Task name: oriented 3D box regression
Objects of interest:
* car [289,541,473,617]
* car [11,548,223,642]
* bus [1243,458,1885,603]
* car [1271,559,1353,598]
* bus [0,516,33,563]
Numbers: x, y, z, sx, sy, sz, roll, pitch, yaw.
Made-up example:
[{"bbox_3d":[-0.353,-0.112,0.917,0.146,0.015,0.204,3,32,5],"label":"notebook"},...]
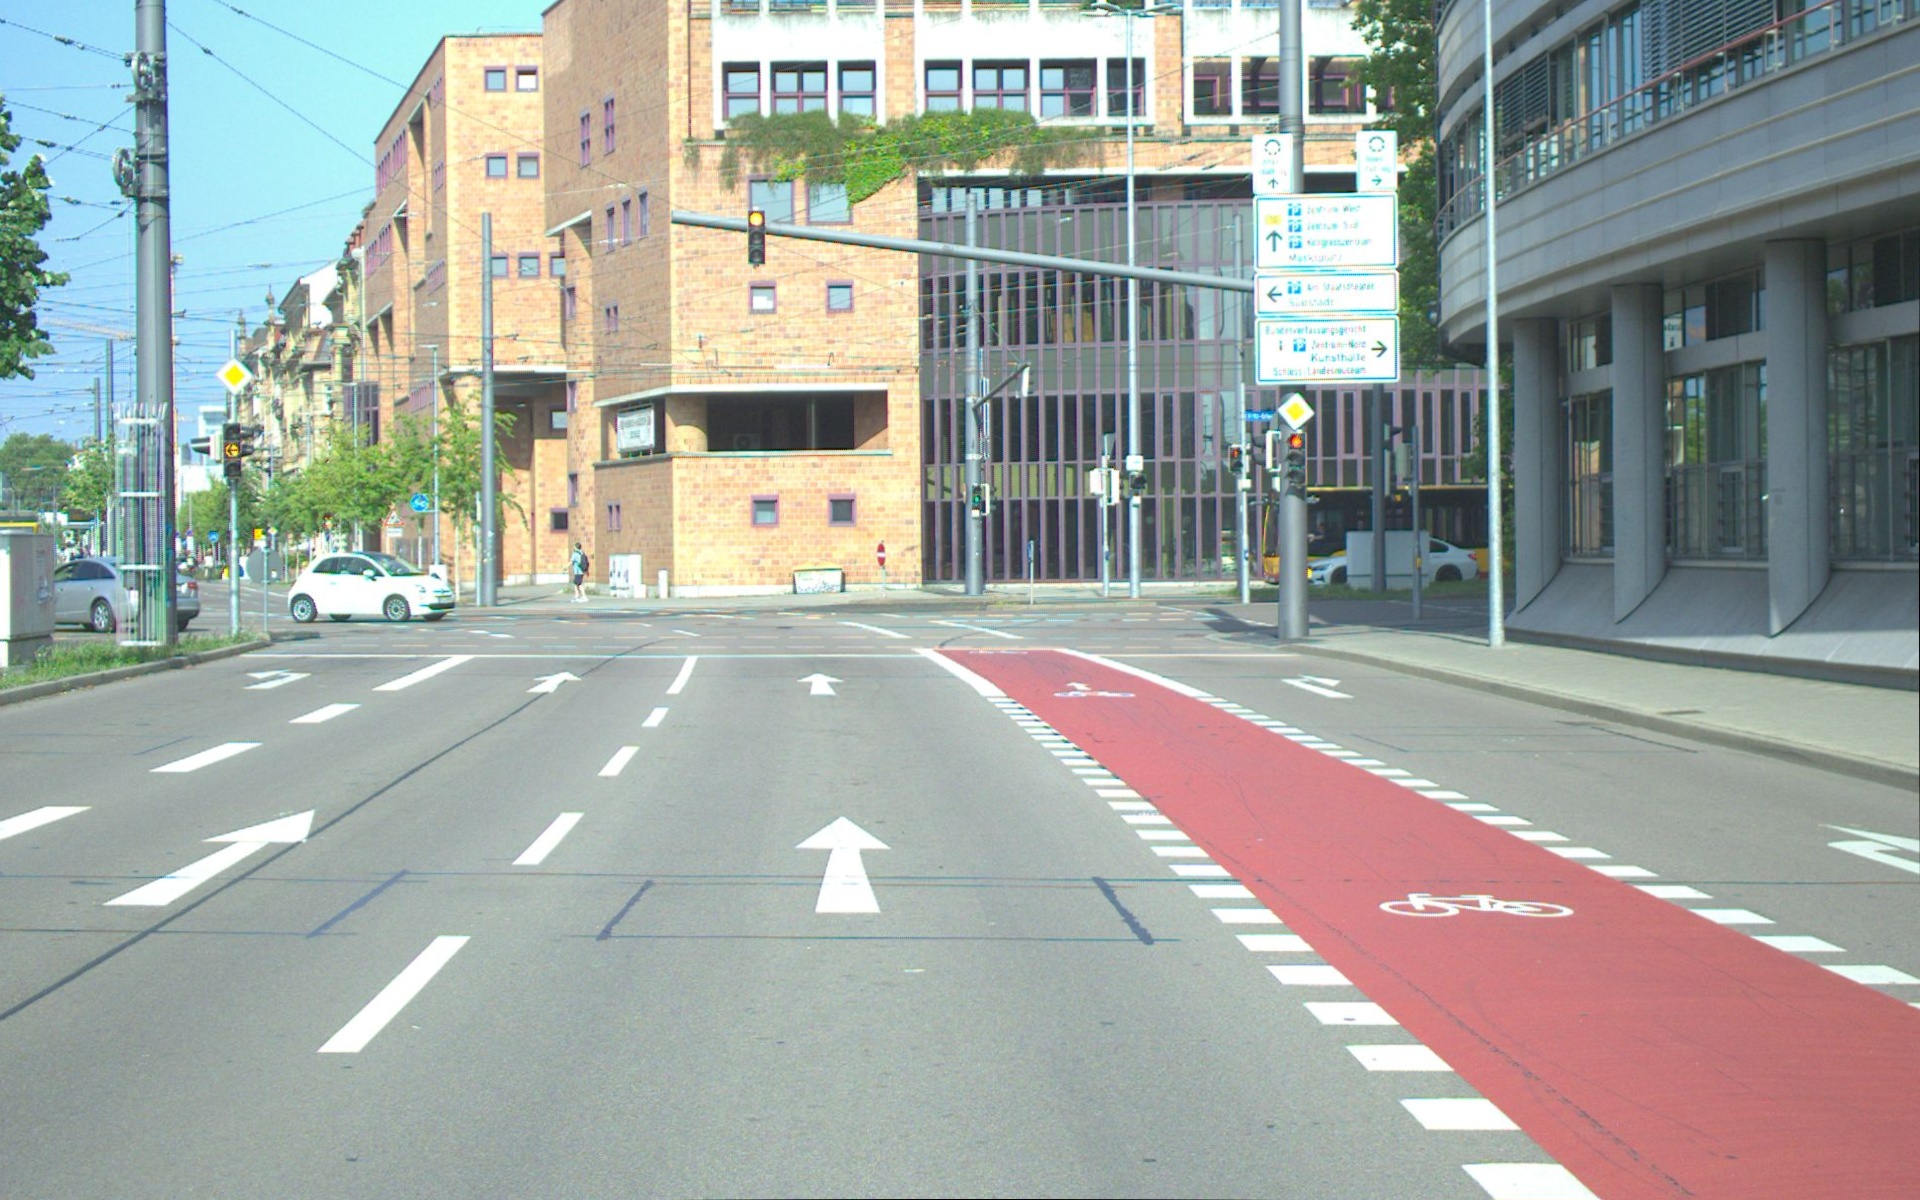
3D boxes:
[{"bbox_3d":[-12.283,-0.424,72.976,3.440,1.536,1.733,-1,-1,22],"label":"car"},{"bbox_3d":[-16.350,-0.095,66.659,3.884,1.749,1.708,-1,0,30],"label":"car"},{"bbox_3d":[16.678,-1.931,94.637,17.605,3.797,2.866,-1,-1,-13],"label":"bus"},{"bbox_3d":[9.119,-0.556,89.061,1.951,0.955,1.094,1,-2,-3],"label":"car"},{"bbox_3d":[-41.519,-2.631,149.465,1.993,2.007,4.001,-1,1,-20],"label":"bus"}]
